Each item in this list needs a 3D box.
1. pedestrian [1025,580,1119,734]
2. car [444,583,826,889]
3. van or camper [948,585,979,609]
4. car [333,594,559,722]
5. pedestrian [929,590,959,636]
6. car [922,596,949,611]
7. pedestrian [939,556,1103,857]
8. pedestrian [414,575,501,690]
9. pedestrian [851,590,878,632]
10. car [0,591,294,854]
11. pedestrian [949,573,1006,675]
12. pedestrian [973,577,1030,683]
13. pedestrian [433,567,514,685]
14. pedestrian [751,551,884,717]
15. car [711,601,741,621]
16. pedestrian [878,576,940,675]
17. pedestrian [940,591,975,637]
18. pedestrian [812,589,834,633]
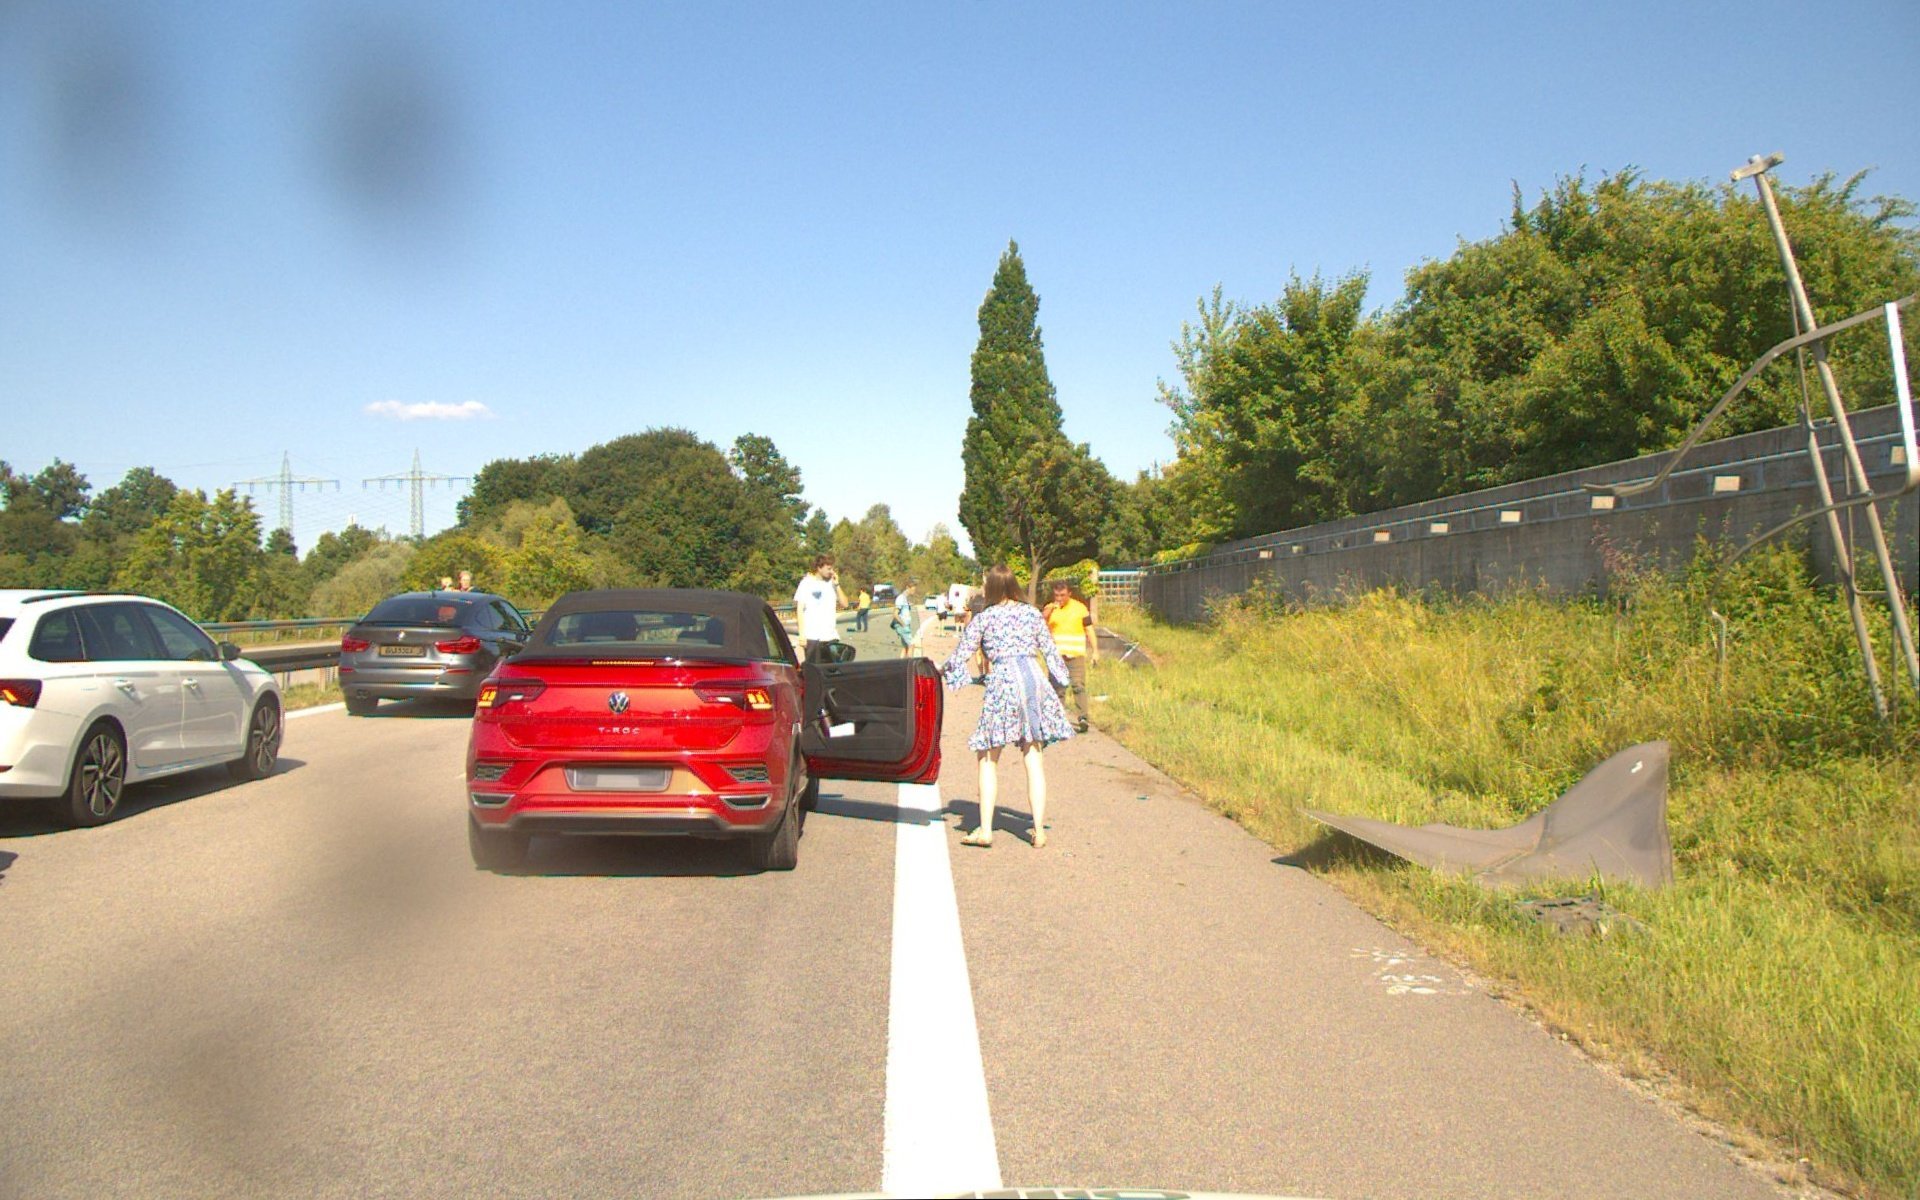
[{"bbox_3d":[1.267,0.624,18.907,0.938,1.682,1.278,-1,0,-1],"label":"pedestrian"},{"bbox_3d":[-1.789,0.676,10.376,1.697,1.513,4.208,1,0,-2],"label":"car"},{"bbox_3d":[0.332,-0.290,162.567,1.951,2.356,4.473,1,0,15],"label":"van or camper"},{"bbox_3d":[-6.417,0.656,21.123,1.660,1.451,4.332,1,0,-2],"label":"car"},{"bbox_3d":[-0.620,0.487,62.855,1.090,1.719,0.973,1,-1,1],"label":"pedestrian"},{"bbox_3d":[-2.510,0.333,169.205,1.695,1.513,4.213,1,0,14],"label":"car"},{"bbox_3d":[0.346,0.611,10.127,0.872,1.725,1.127,-1,0,-4],"label":"pedestrian"},{"bbox_3d":[-8.023,0.504,26.463,1.092,1.794,1.043,-1,0,-3],"label":"pedestrian"},{"bbox_3d":[-4.027,0.470,69.705,0.992,1.719,1.060,1,-1,4],"label":"pedestrian"},{"bbox_3d":[-6.215,0.682,11.414,1.660,1.467,4.208,1,0,-2],"label":"car"},{"bbox_3d":[0.326,0.424,29.678,0.808,1.790,0.815,1,-1,16],"label":"pedestrian"},{"bbox_3d":[0.692,0.507,27.986,0.877,1.755,0.754,1,-1,-4],"label":"pedestrian"},{"bbox_3d":[-8.053,0.420,27.438,1.044,1.916,1.093,-1,0,-3],"label":"pedestrian"},{"bbox_3d":[-1.720,0.403,20.104,1.227,1.946,1.109,-1,0,21],"label":"pedestrian"},{"bbox_3d":[-17.721,0.853,125.463,1.660,1.451,4.305,1,0,0],"label":"car"},{"bbox_3d":[-0.963,0.481,31.444,1.065,1.820,1.108,1,-1,3],"label":"pedestrian"},{"bbox_3d":[-0.108,0.517,62.597,0.994,1.719,0.992,1,-1,-24],"label":"pedestrian"},{"bbox_3d":[-5.483,0.432,66.179,0.775,1.719,0.792,1,-1,3],"label":"pedestrian"}]
